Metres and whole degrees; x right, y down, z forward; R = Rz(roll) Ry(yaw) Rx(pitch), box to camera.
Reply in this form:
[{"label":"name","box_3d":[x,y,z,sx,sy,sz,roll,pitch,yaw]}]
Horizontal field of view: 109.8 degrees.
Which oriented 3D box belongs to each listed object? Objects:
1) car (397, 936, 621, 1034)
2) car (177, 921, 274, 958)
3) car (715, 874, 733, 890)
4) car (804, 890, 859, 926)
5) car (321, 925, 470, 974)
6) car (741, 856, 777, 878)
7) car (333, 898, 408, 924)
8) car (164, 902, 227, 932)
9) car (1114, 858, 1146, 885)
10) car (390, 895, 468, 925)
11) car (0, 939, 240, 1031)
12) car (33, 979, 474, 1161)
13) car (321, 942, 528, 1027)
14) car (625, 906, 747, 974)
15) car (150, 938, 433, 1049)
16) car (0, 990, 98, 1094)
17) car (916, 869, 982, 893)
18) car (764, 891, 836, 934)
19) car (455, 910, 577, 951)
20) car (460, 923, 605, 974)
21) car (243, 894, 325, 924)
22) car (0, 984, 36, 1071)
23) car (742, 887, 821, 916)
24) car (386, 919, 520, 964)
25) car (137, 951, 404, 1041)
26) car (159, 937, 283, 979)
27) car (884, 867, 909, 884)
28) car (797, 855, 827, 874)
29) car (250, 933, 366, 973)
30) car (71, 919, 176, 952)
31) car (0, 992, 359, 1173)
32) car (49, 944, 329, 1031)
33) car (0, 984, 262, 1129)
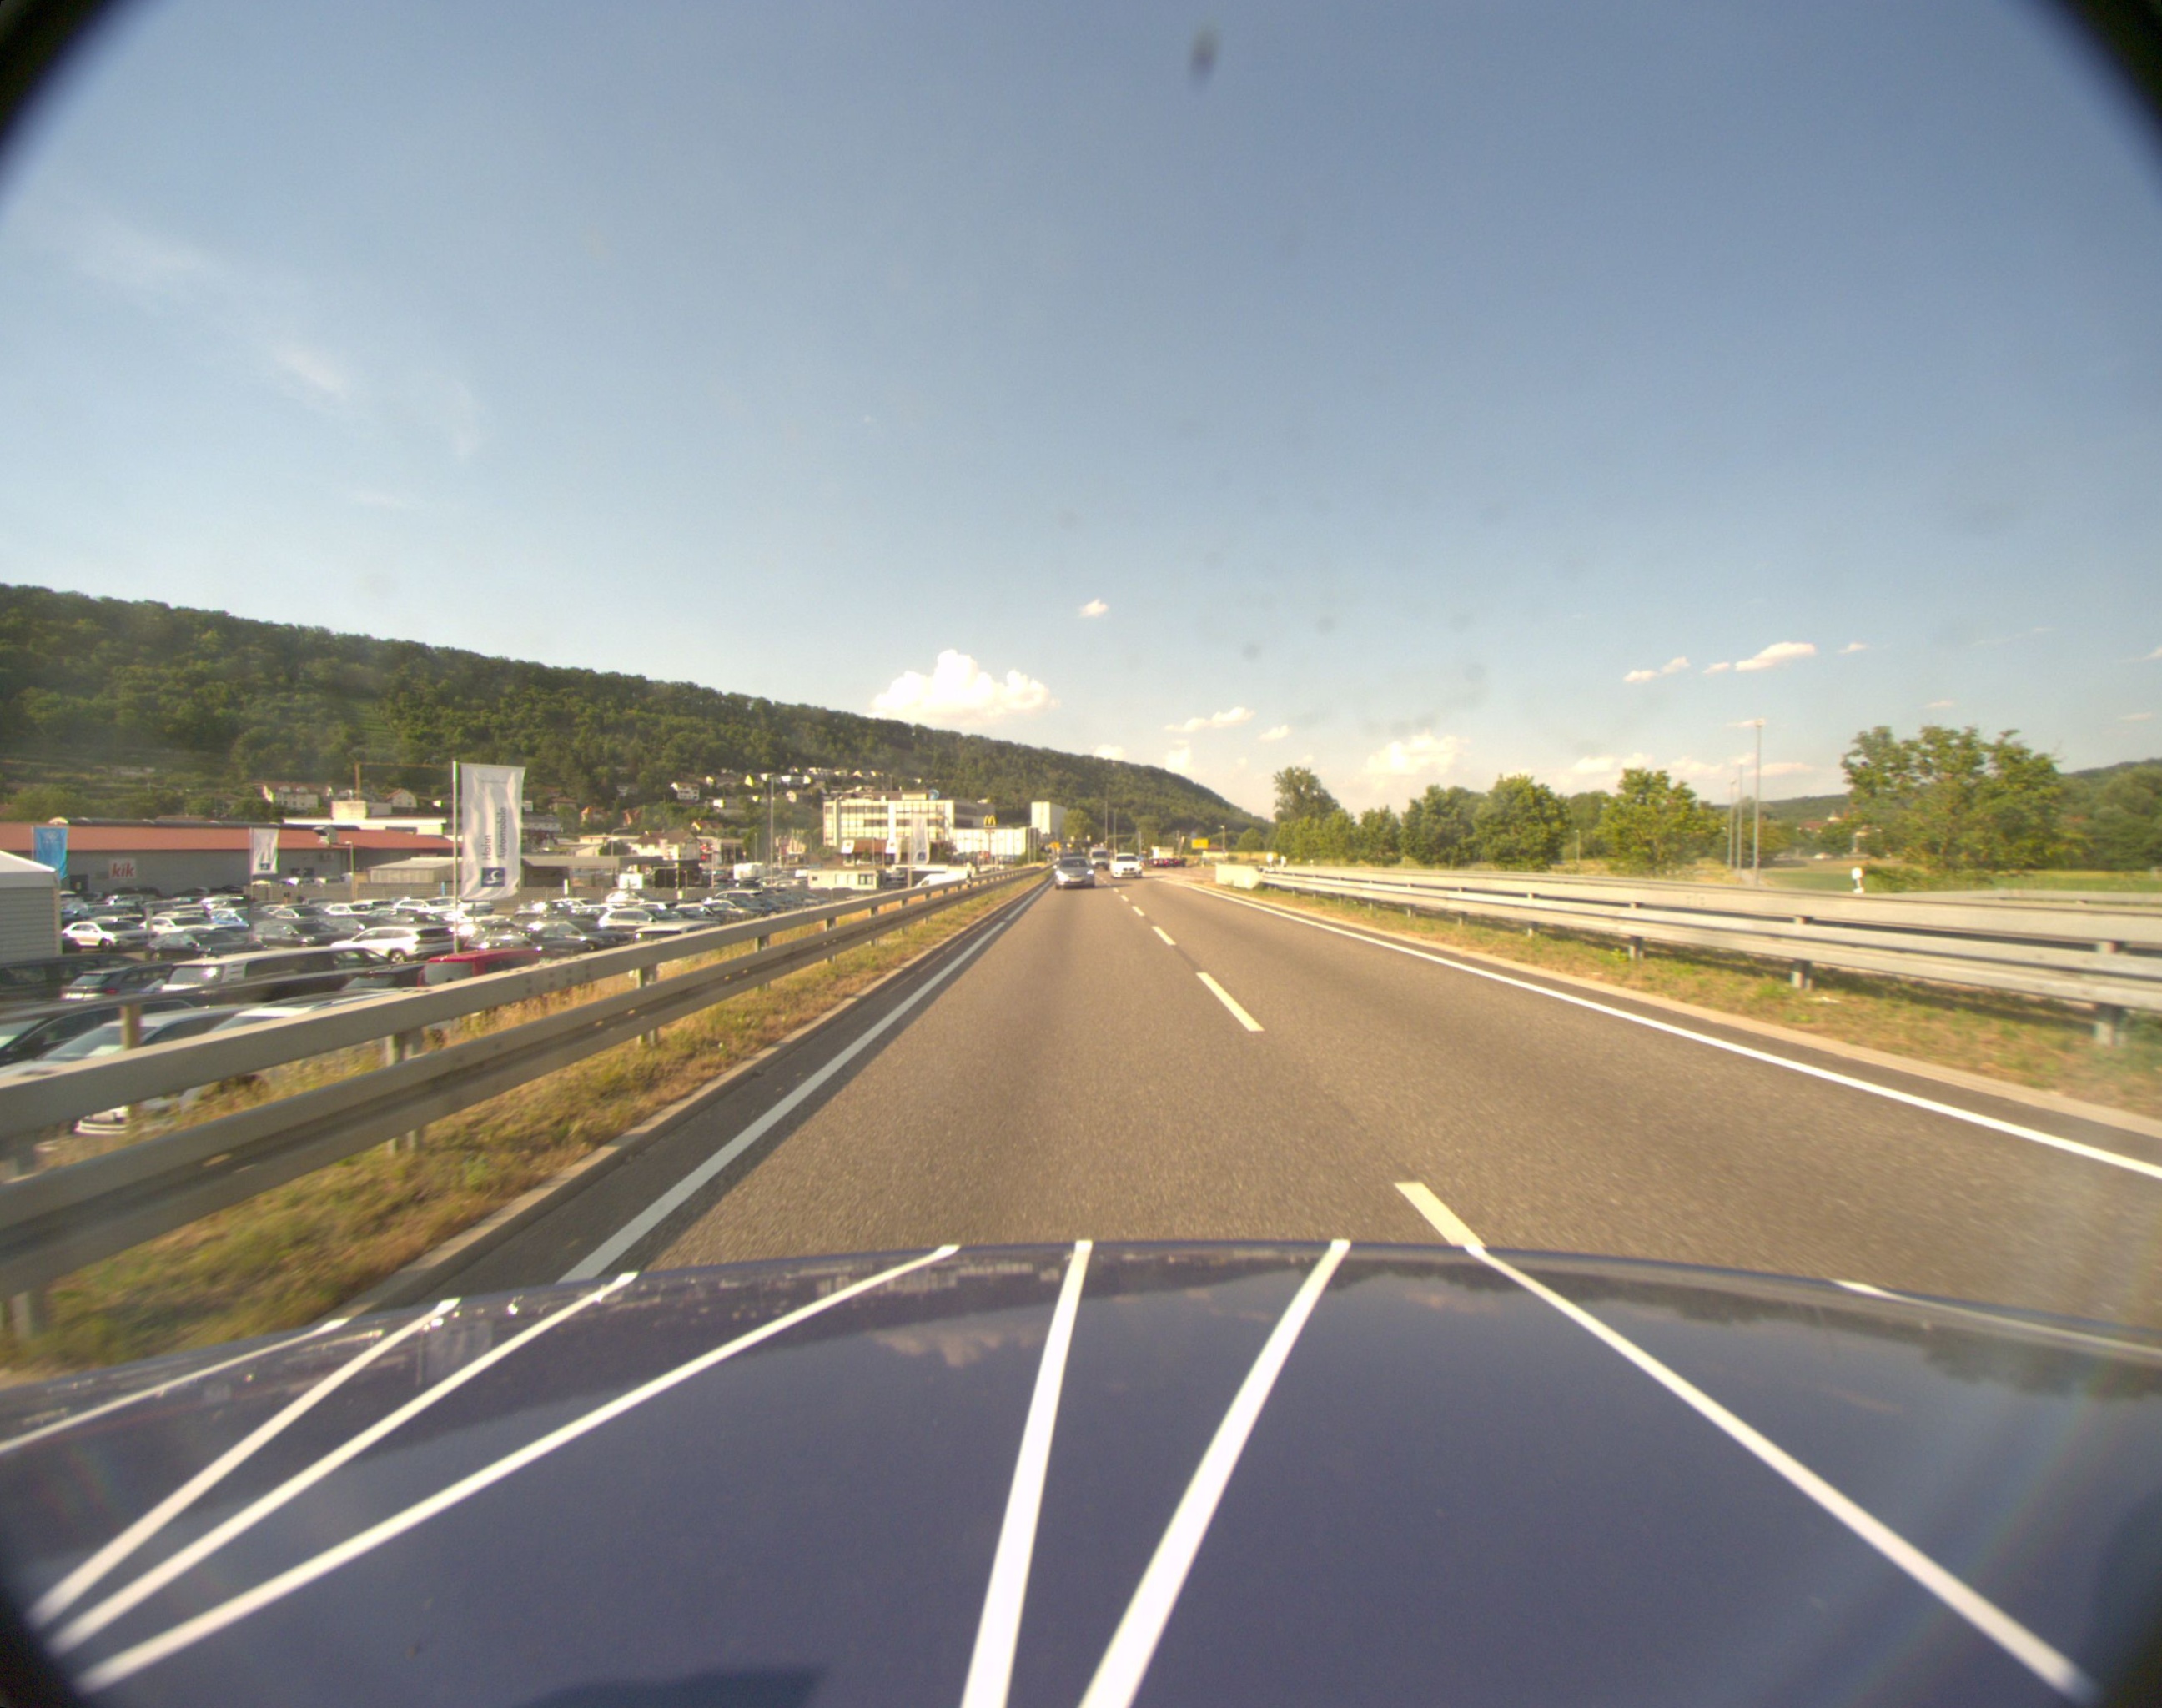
[{"label":"car","box_3d":[-14.587,3.276,19.824,1.883,1.616,4.731,-2,1,6]},{"label":"car","box_3d":[-41.057,4.092,36.476,3.480,1.565,1.630,-2,1,15]},{"label":"car","box_3d":[-39.518,3.031,84.178,1.683,1.561,3.767,-3,1,-25]},{"label":"car","box_3d":[-13.967,2.990,42.815,1.742,1.616,4.310,-2,1,-2]},{"label":"car","box_3d":[-27.075,3.759,30.069,4.433,1.627,1.887,-2,1,8]},{"label":"car","box_3d":[-41.235,1.635,97.441,1.759,2.535,5.470,-2,1,4]},{"label":"car","box_3d":[-50.994,4.077,54.559,3.959,1.632,1.757,-2,1,8]},{"label":"car","box_3d":[-59.903,4.245,51.498,1.889,1.627,4.428,-3,1,-38]},{"label":"car","box_3d":[3.098,1.084,48.780,1.825,1.551,3.999,-2,1,1]},{"label":"car","box_3d":[-45.820,3.910,53.459,3.994,1.849,1.927,-2,1,8]},{"label":"car","box_3d":[-26.895,3.477,20.857,1.883,1.627,4.732,-2,1,11]},{"label":"car","box_3d":[-13.308,3.368,12.816,1.883,1.616,4.731,-2,1,8]},{"label":"car","box_3d":[-17.113,3.356,20.109,1.673,1.463,4.001,-2,1,7]},{"label":"car","box_3d":[-13.234,2.821,25.824,1.885,1.616,4.727,-2,1,-4]},{"label":"car","box_3d":[-20.070,3.452,19.703,1.883,1.920,4.732,-2,1,11]},{"label":"car","box_3d":[-20.624,3.576,12.728,1.883,1.627,4.731,-2,1,6]},{"label":"car","box_3d":[-12.737,2.637,73.287,5.895,2.002,2.000,-2,1,3]},{"label":"car","box_3d":[-13.274,2.719,36.170,1.741,1.616,4.311,-2,1,0]},{"label":"car","box_3d":[-26.343,3.547,35.479,4.433,1.627,1.887,-2,1,8]},{"label":"car","box_3d":[-21.327,3.659,29.634,4.433,1.627,1.887,-2,1,8]},{"label":"car","box_3d":[-52.224,3.618,49.797,3.993,1.718,1.783,-2,1,12]},{"label":"car","box_3d":[-22.908,3.602,13.907,1.778,1.674,4.001,-2,1,7]},{"label":"car","box_3d":[-19.669,3.129,49.977,4.433,1.627,1.887,-2,1,8]},{"label":"car","box_3d":[-27.137,3.782,32.885,4.433,1.627,1.887,-2,1,8]},{"label":"car","box_3d":[-22.200,3.819,21.170,1.883,1.513,4.732,-2,1,11]},{"label":"car","box_3d":[-36.050,4.335,31.876,3.993,1.456,1.713,-2,1,13]},{"label":"car","box_3d":[-24.228,2.776,99.736,1.759,1.941,4.828,-2,1,4]},{"label":"car","box_3d":[-35.978,1.394,101.795,1.759,2.233,5.298,-2,1,4]},{"label":"car","box_3d":[-35.509,4.534,34.947,3.993,1.556,1.783,-2,1,12]},{"label":"car","box_3d":[-48.358,4.114,38.401,3.993,1.456,1.713,-2,1,13]},{"label":"car","box_3d":[-15.856,3.688,13.167,1.884,1.627,4.730,-2,1,4]},{"label":"car","box_3d":[-24.763,3.646,21.433,1.883,1.513,4.732,-2,1,11]},{"label":"car","box_3d":[-18.130,3.579,13.444,1.884,1.627,4.730,-2,1,4]}]
